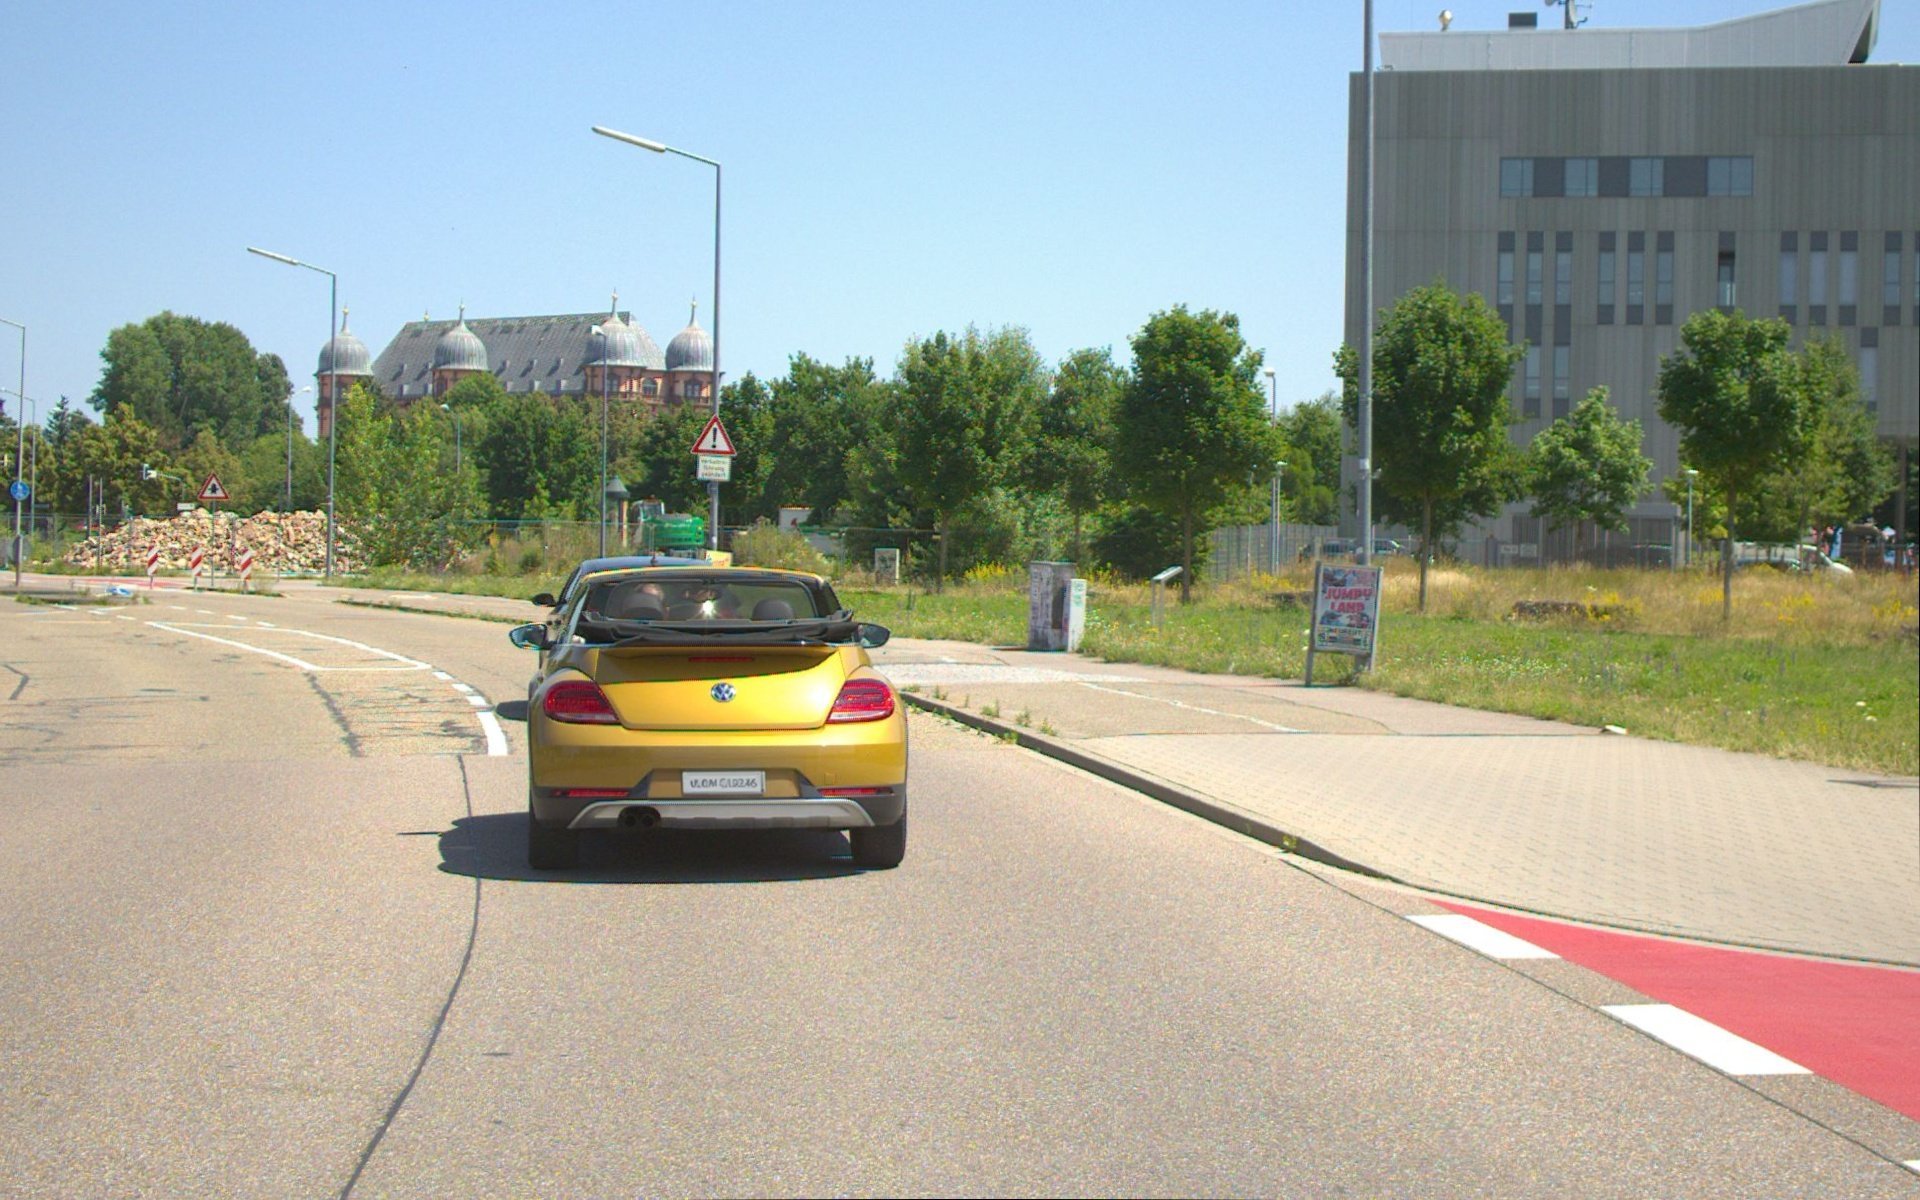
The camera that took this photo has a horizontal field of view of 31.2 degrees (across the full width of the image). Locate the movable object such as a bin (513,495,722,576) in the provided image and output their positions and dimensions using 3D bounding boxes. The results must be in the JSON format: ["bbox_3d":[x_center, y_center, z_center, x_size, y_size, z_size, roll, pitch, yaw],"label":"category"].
[{"bbox_3d":[-14.719,-2.774,146.855,4.939,3.249,10.470,1,1,-30],"label":"movable object such as a bin"}]

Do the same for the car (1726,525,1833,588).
[{"bbox_3d":[30.762,-1.649,129.088,3.845,2.286,1.741,1,1,14],"label":"car"}]

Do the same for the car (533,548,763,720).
[{"bbox_3d":[-2.898,0.264,31.220,1.726,1.438,4.001,1,1,-10],"label":"car"}]

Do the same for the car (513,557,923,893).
[{"bbox_3d":[-1.278,0.536,17.136,1.789,1.432,3.815,1,1,-6],"label":"car"}]
